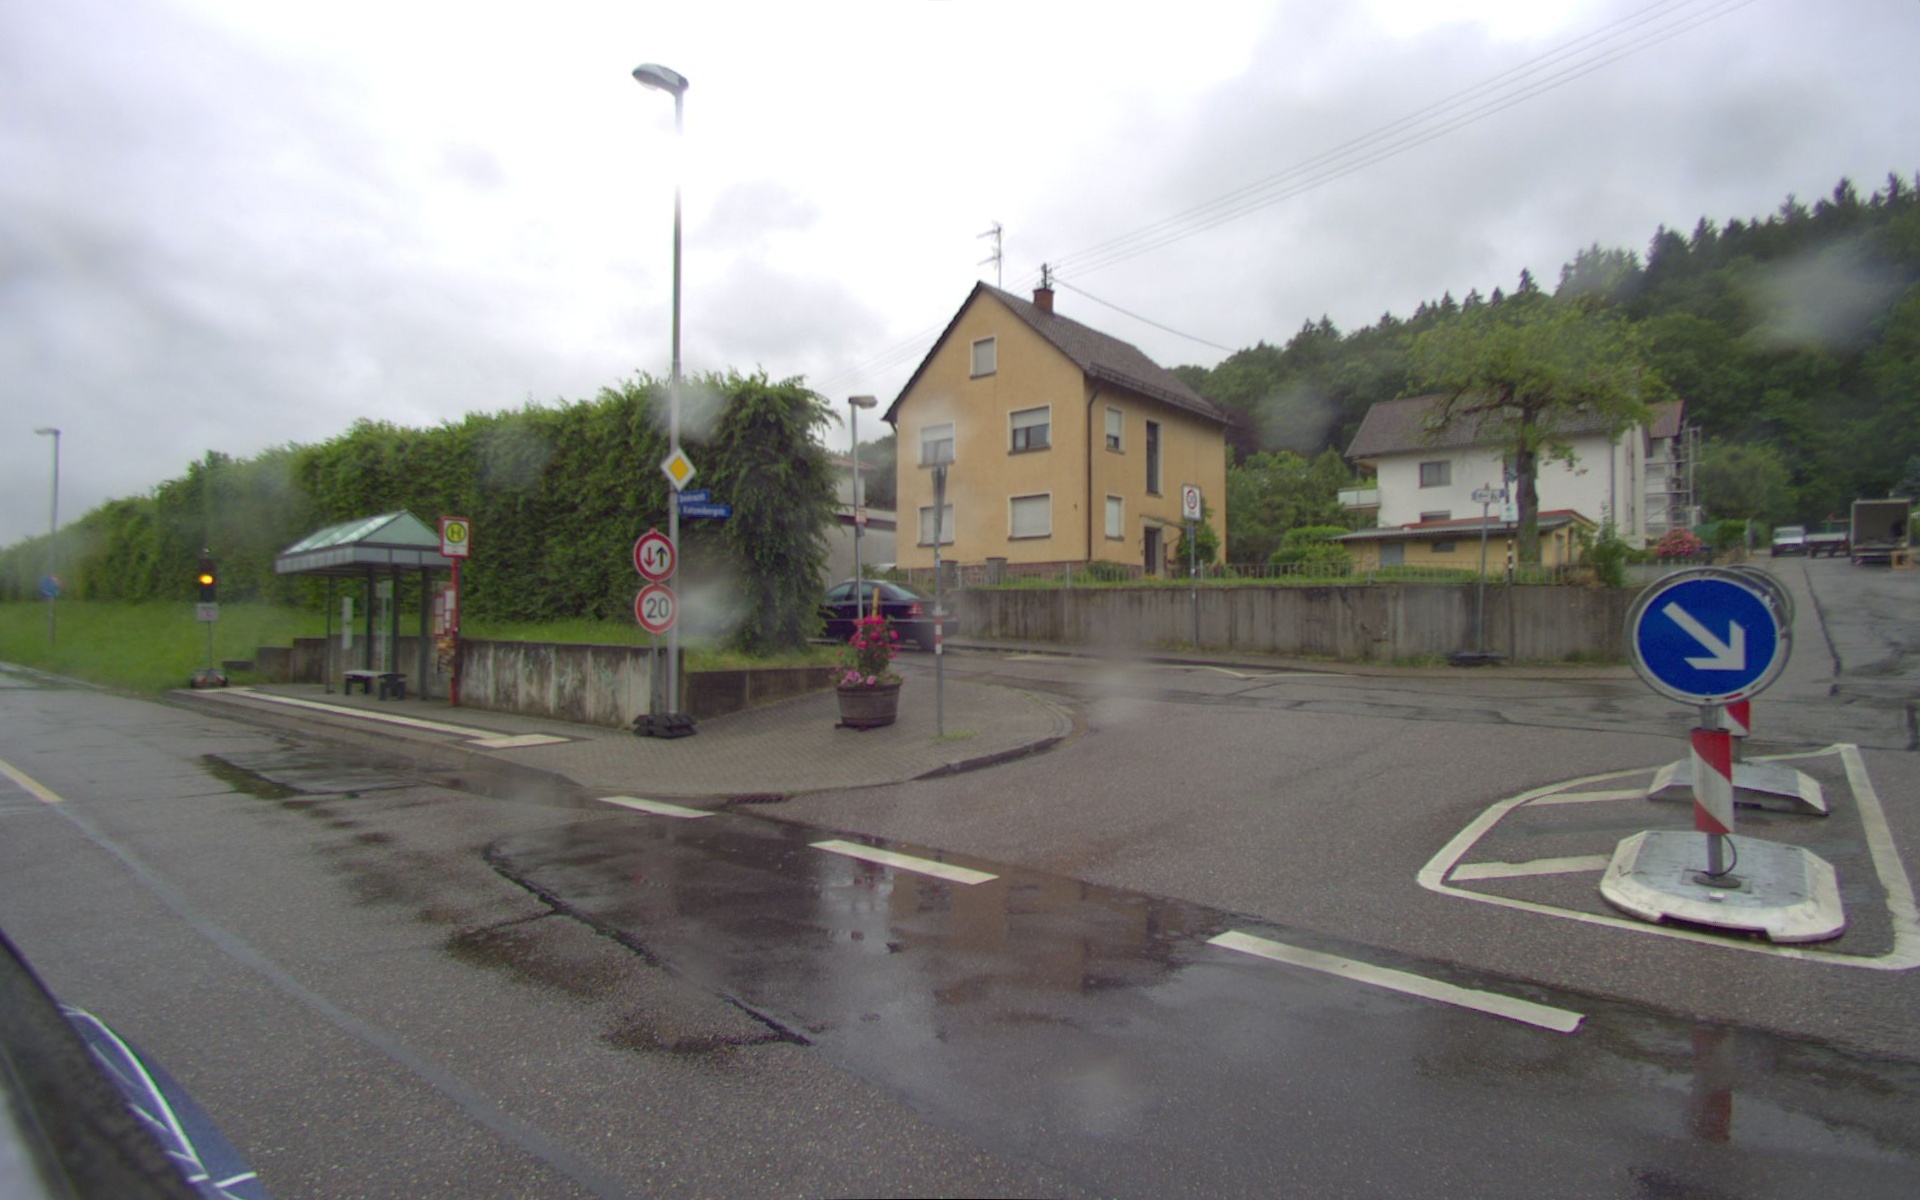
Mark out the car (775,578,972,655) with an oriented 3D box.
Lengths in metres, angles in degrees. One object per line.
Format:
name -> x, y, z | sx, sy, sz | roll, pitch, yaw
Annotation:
car -> -1.916, 0.298, 21.644 | 4.221, 1.399, 1.726 | 2, 1, 41

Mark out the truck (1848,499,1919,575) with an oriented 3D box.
truck -> 44.881, -2.974, 49.220 | 2.452, 3.377, 6.567 | -1, 1, 41

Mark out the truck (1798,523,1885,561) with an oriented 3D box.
truck -> 53.797, -3.532, 61.741 | 5.977, 2.142, 2.307 | -2, 1, -32

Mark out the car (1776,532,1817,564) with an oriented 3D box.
car -> 55.529, -3.436, 67.238 | 1.913, 2.028, 3.950 | 0, 2, 37
